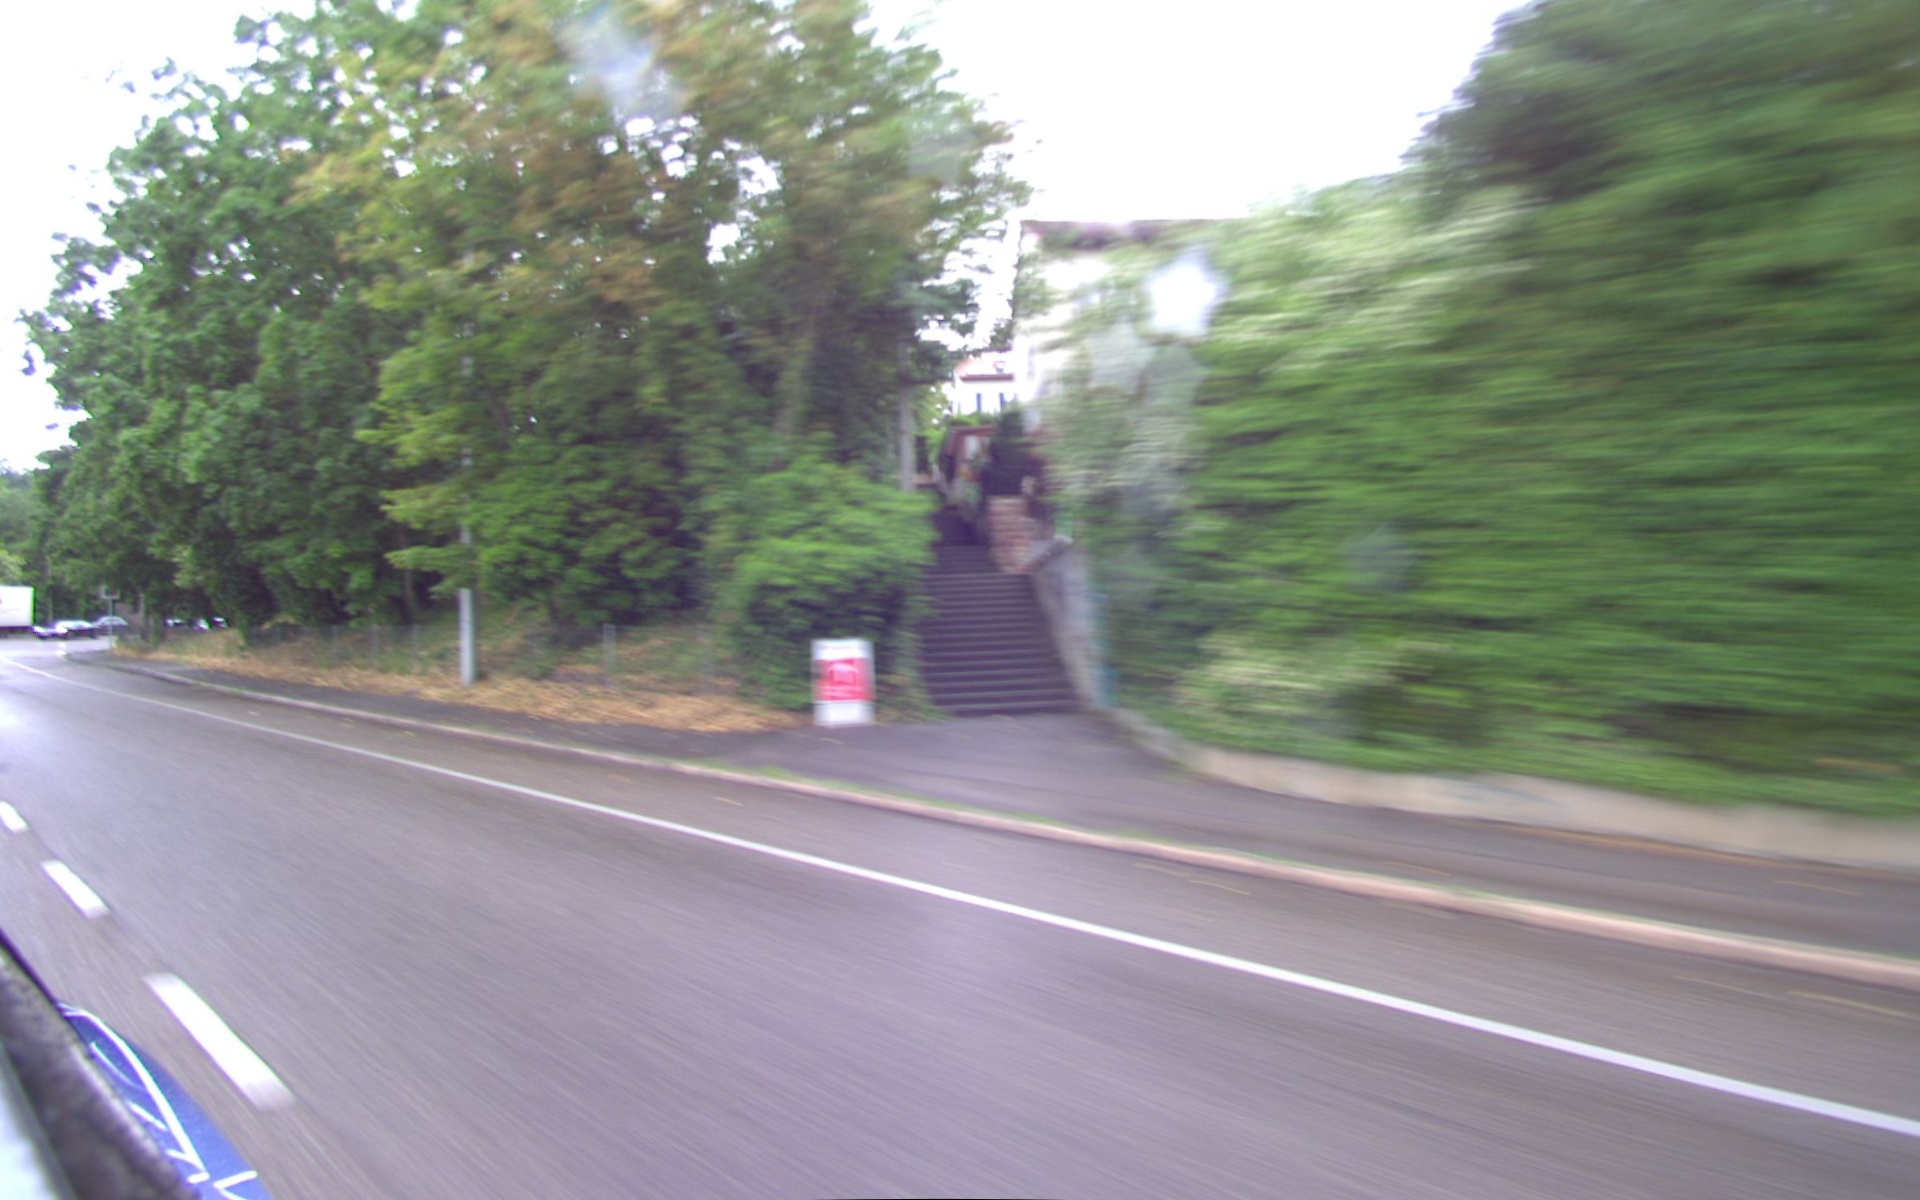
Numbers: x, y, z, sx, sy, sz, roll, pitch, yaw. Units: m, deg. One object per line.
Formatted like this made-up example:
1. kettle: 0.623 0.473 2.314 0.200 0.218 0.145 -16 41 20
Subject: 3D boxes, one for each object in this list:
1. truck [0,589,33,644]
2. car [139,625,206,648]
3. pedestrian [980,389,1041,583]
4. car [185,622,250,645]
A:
1. truck: -64.273 1.050 65.017 2.967 3.601 8.355 0 -1 -11
2. car: -51.952 2.392 66.860 1.750 1.454 4.023 1 -1 -9
3. pedestrian: 1.269 -2.861 25.892 1.323 4.783 1.187 -2 2 -1
4. car: -52.722 2.370 71.929 1.732 1.467 4.048 1 0 -1
